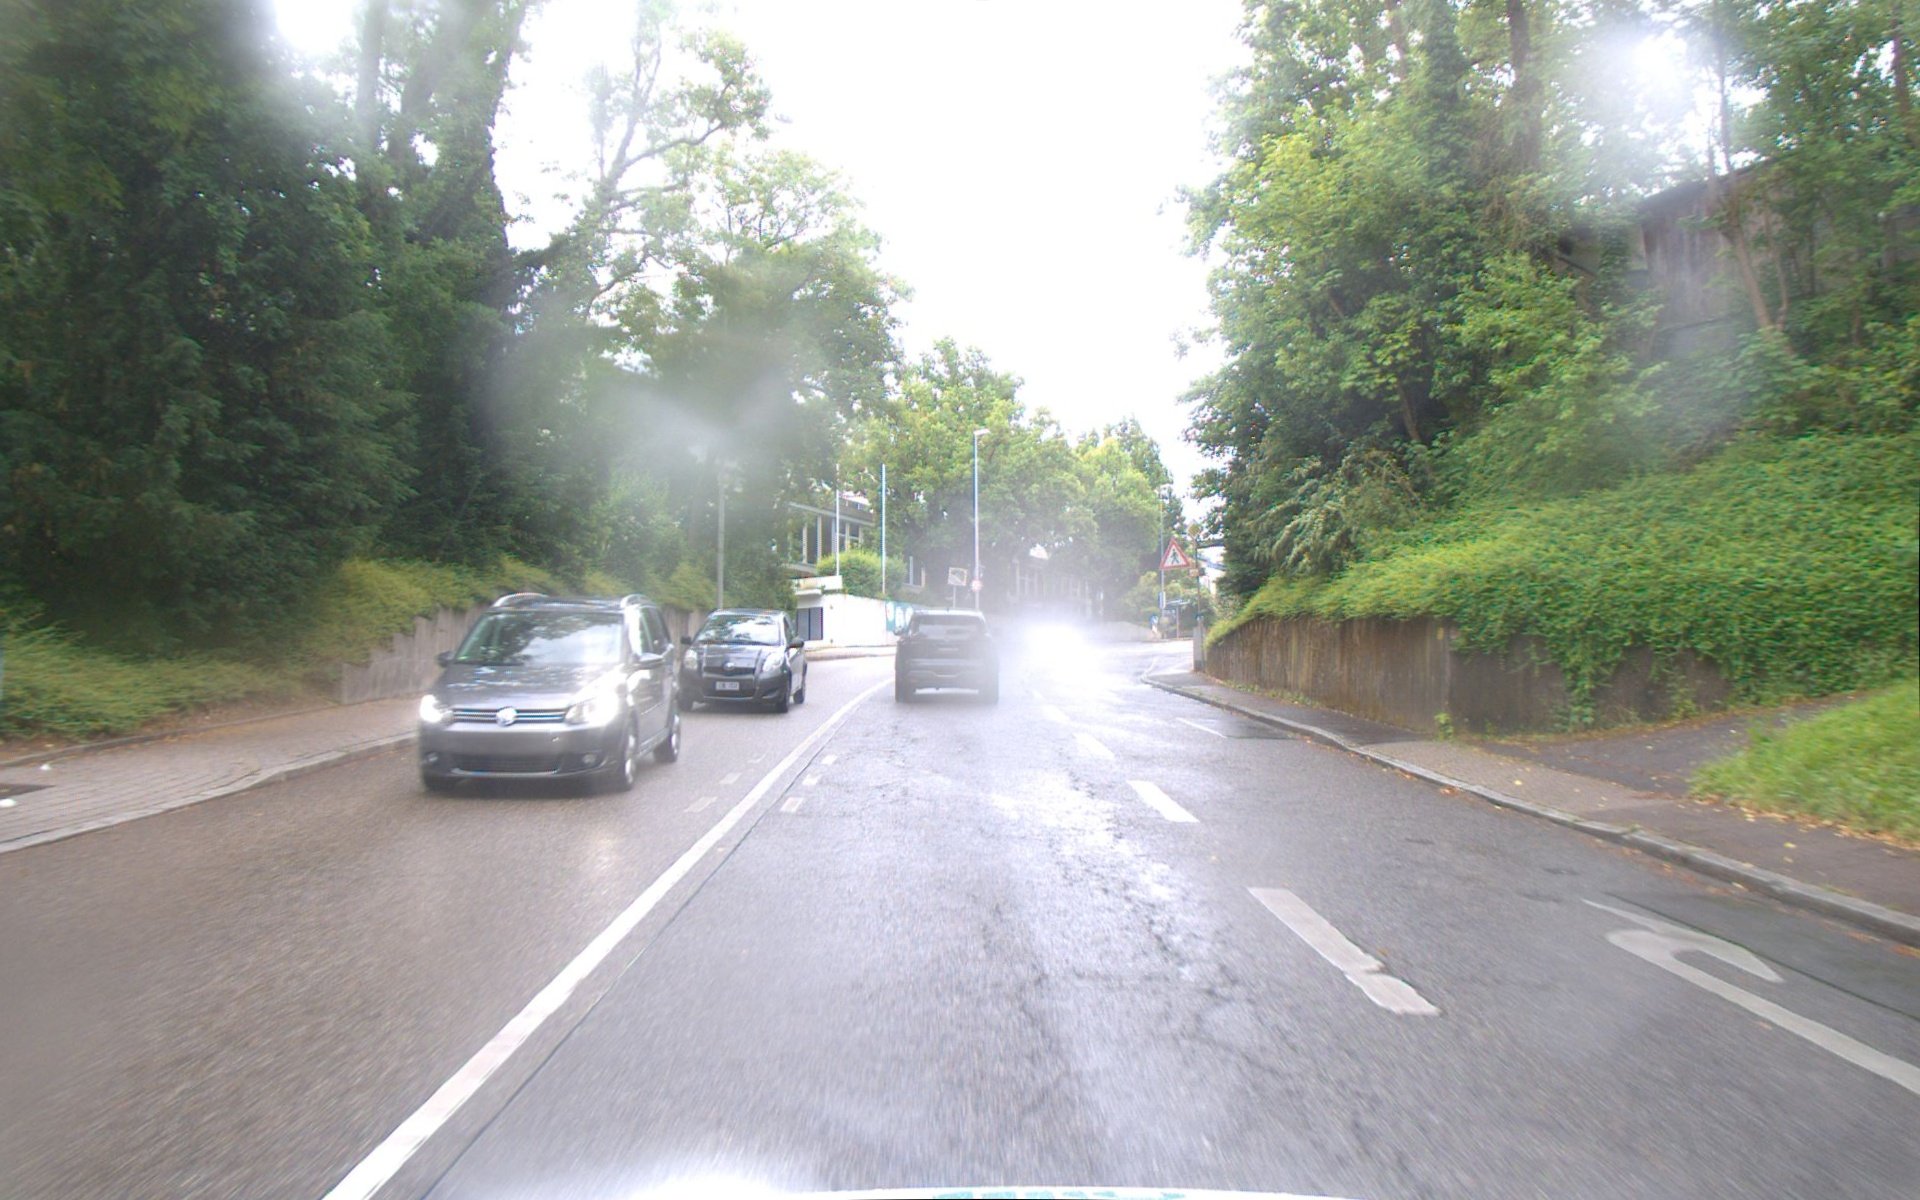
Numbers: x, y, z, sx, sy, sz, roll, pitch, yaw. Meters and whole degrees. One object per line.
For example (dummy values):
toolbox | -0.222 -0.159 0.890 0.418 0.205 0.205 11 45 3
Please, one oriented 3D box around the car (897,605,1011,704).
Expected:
car | -0.134 0.917 29.631 1.889 1.641 3.999 0 0 -1

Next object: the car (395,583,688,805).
car | -3.628 0.753 15.069 1.794 1.741 3.998 0 0 -2

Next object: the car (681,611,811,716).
car | -3.275 0.935 25.836 1.641 1.522 3.459 0 0 -1
